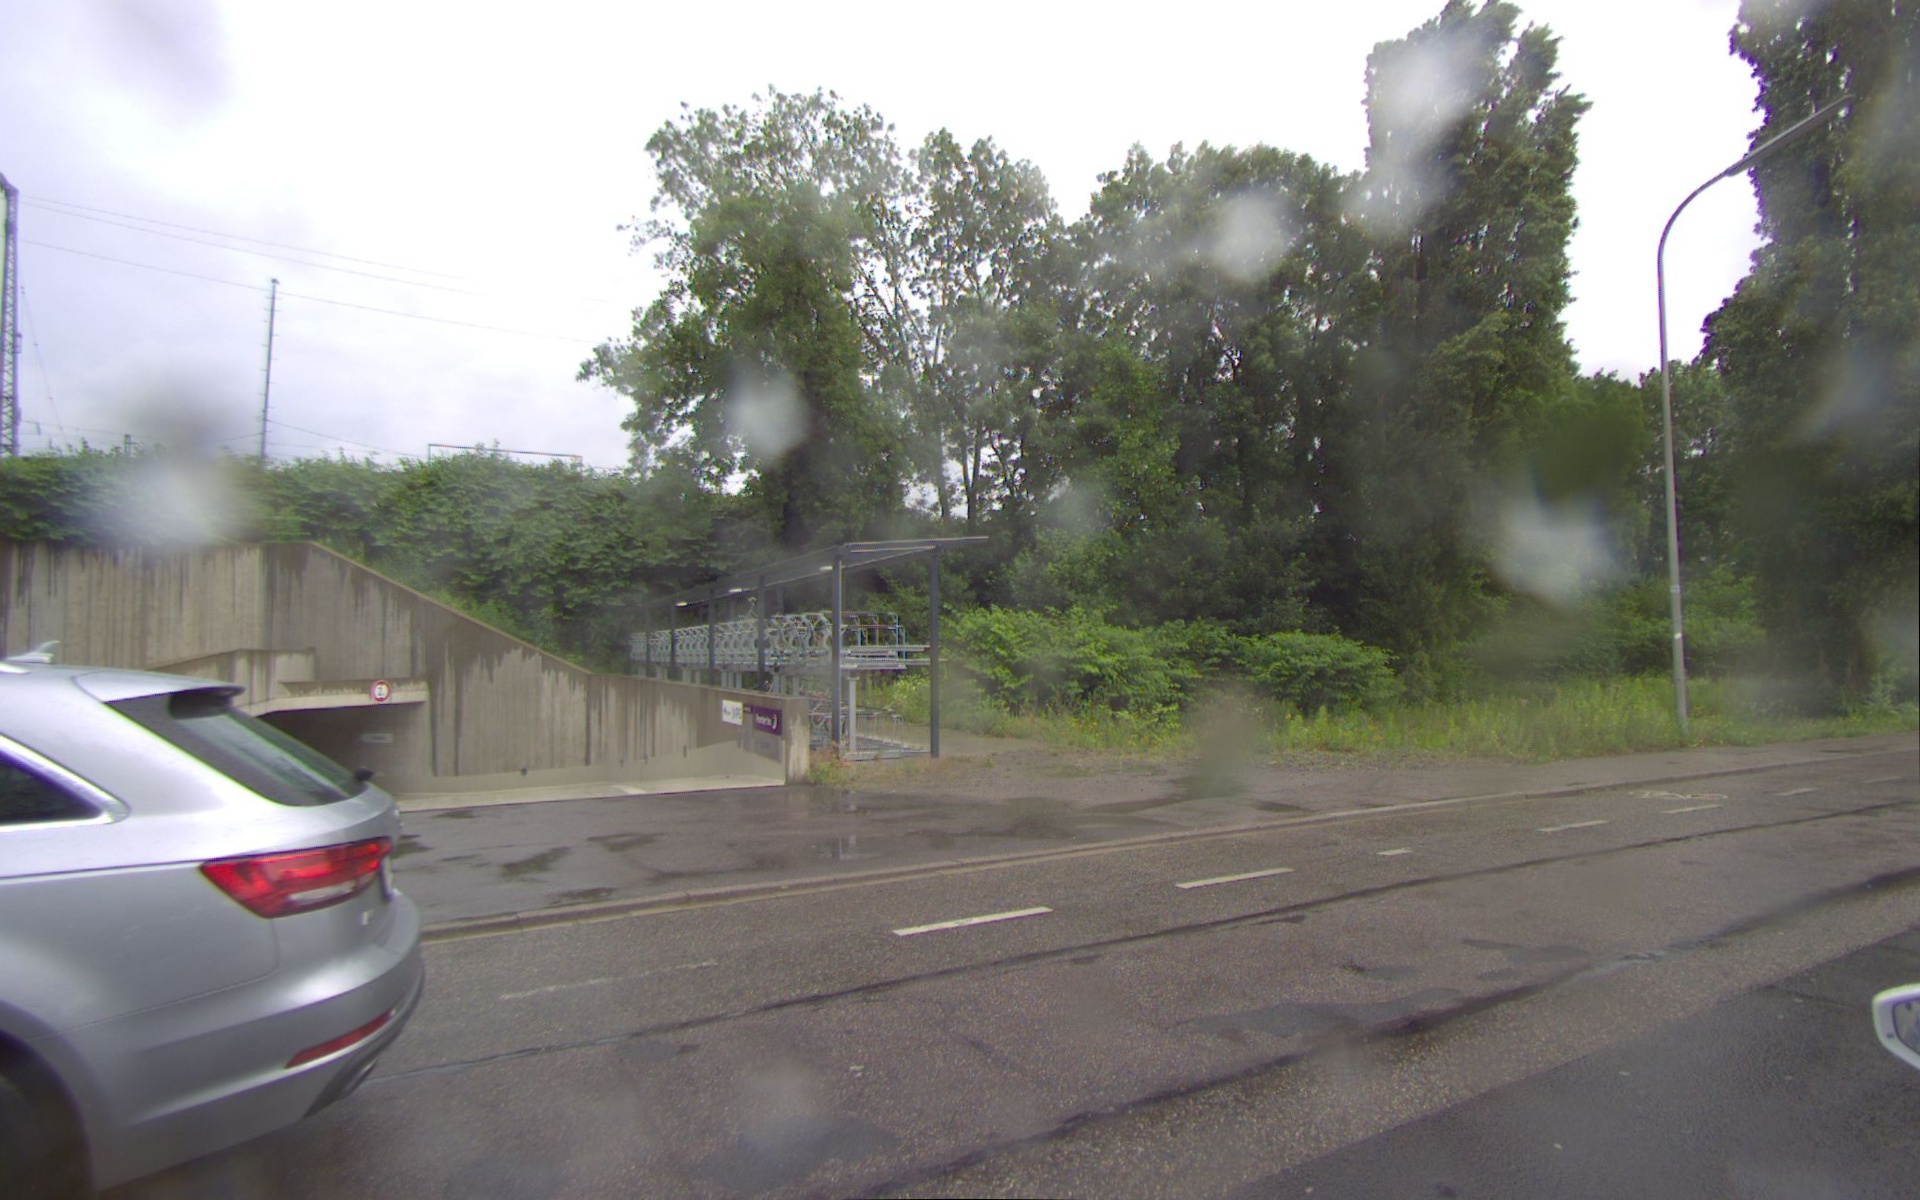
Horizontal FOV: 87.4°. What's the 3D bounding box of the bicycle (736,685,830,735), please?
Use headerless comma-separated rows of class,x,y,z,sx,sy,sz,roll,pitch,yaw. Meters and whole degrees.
bicycle,-3.360,2.082,19.106,1.683,0.869,0.514,1,-4,-29

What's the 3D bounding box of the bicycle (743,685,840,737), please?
bicycle,-3.094,2.030,18.463,1.683,0.869,0.514,1,-4,-29

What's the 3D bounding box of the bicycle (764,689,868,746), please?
bicycle,-2.412,1.957,16.876,1.652,0.869,0.514,1,-4,-29

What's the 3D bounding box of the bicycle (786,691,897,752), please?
bicycle,-1.849,1.883,15.736,1.652,0.869,0.514,1,-4,-29

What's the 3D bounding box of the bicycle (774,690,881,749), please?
bicycle,-2.144,1.927,16.322,1.652,0.869,0.514,1,-4,-29

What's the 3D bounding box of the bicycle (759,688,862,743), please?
bicycle,-2.583,1.982,17.394,1.683,0.869,0.514,1,-4,-29

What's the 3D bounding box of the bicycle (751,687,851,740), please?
bicycle,-2.835,2.013,17.948,1.683,0.869,0.514,1,-4,-29

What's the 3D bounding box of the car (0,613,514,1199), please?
car,-3.401,0.818,2.192,4.327,1.468,1.727,1,-6,-29

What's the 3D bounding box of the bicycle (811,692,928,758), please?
bicycle,-1.318,1.814,14.776,1.652,0.869,0.514,1,-4,-29

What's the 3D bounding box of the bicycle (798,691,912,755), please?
bicycle,-1.589,1.848,15.269,1.652,0.869,0.514,1,-4,-29
